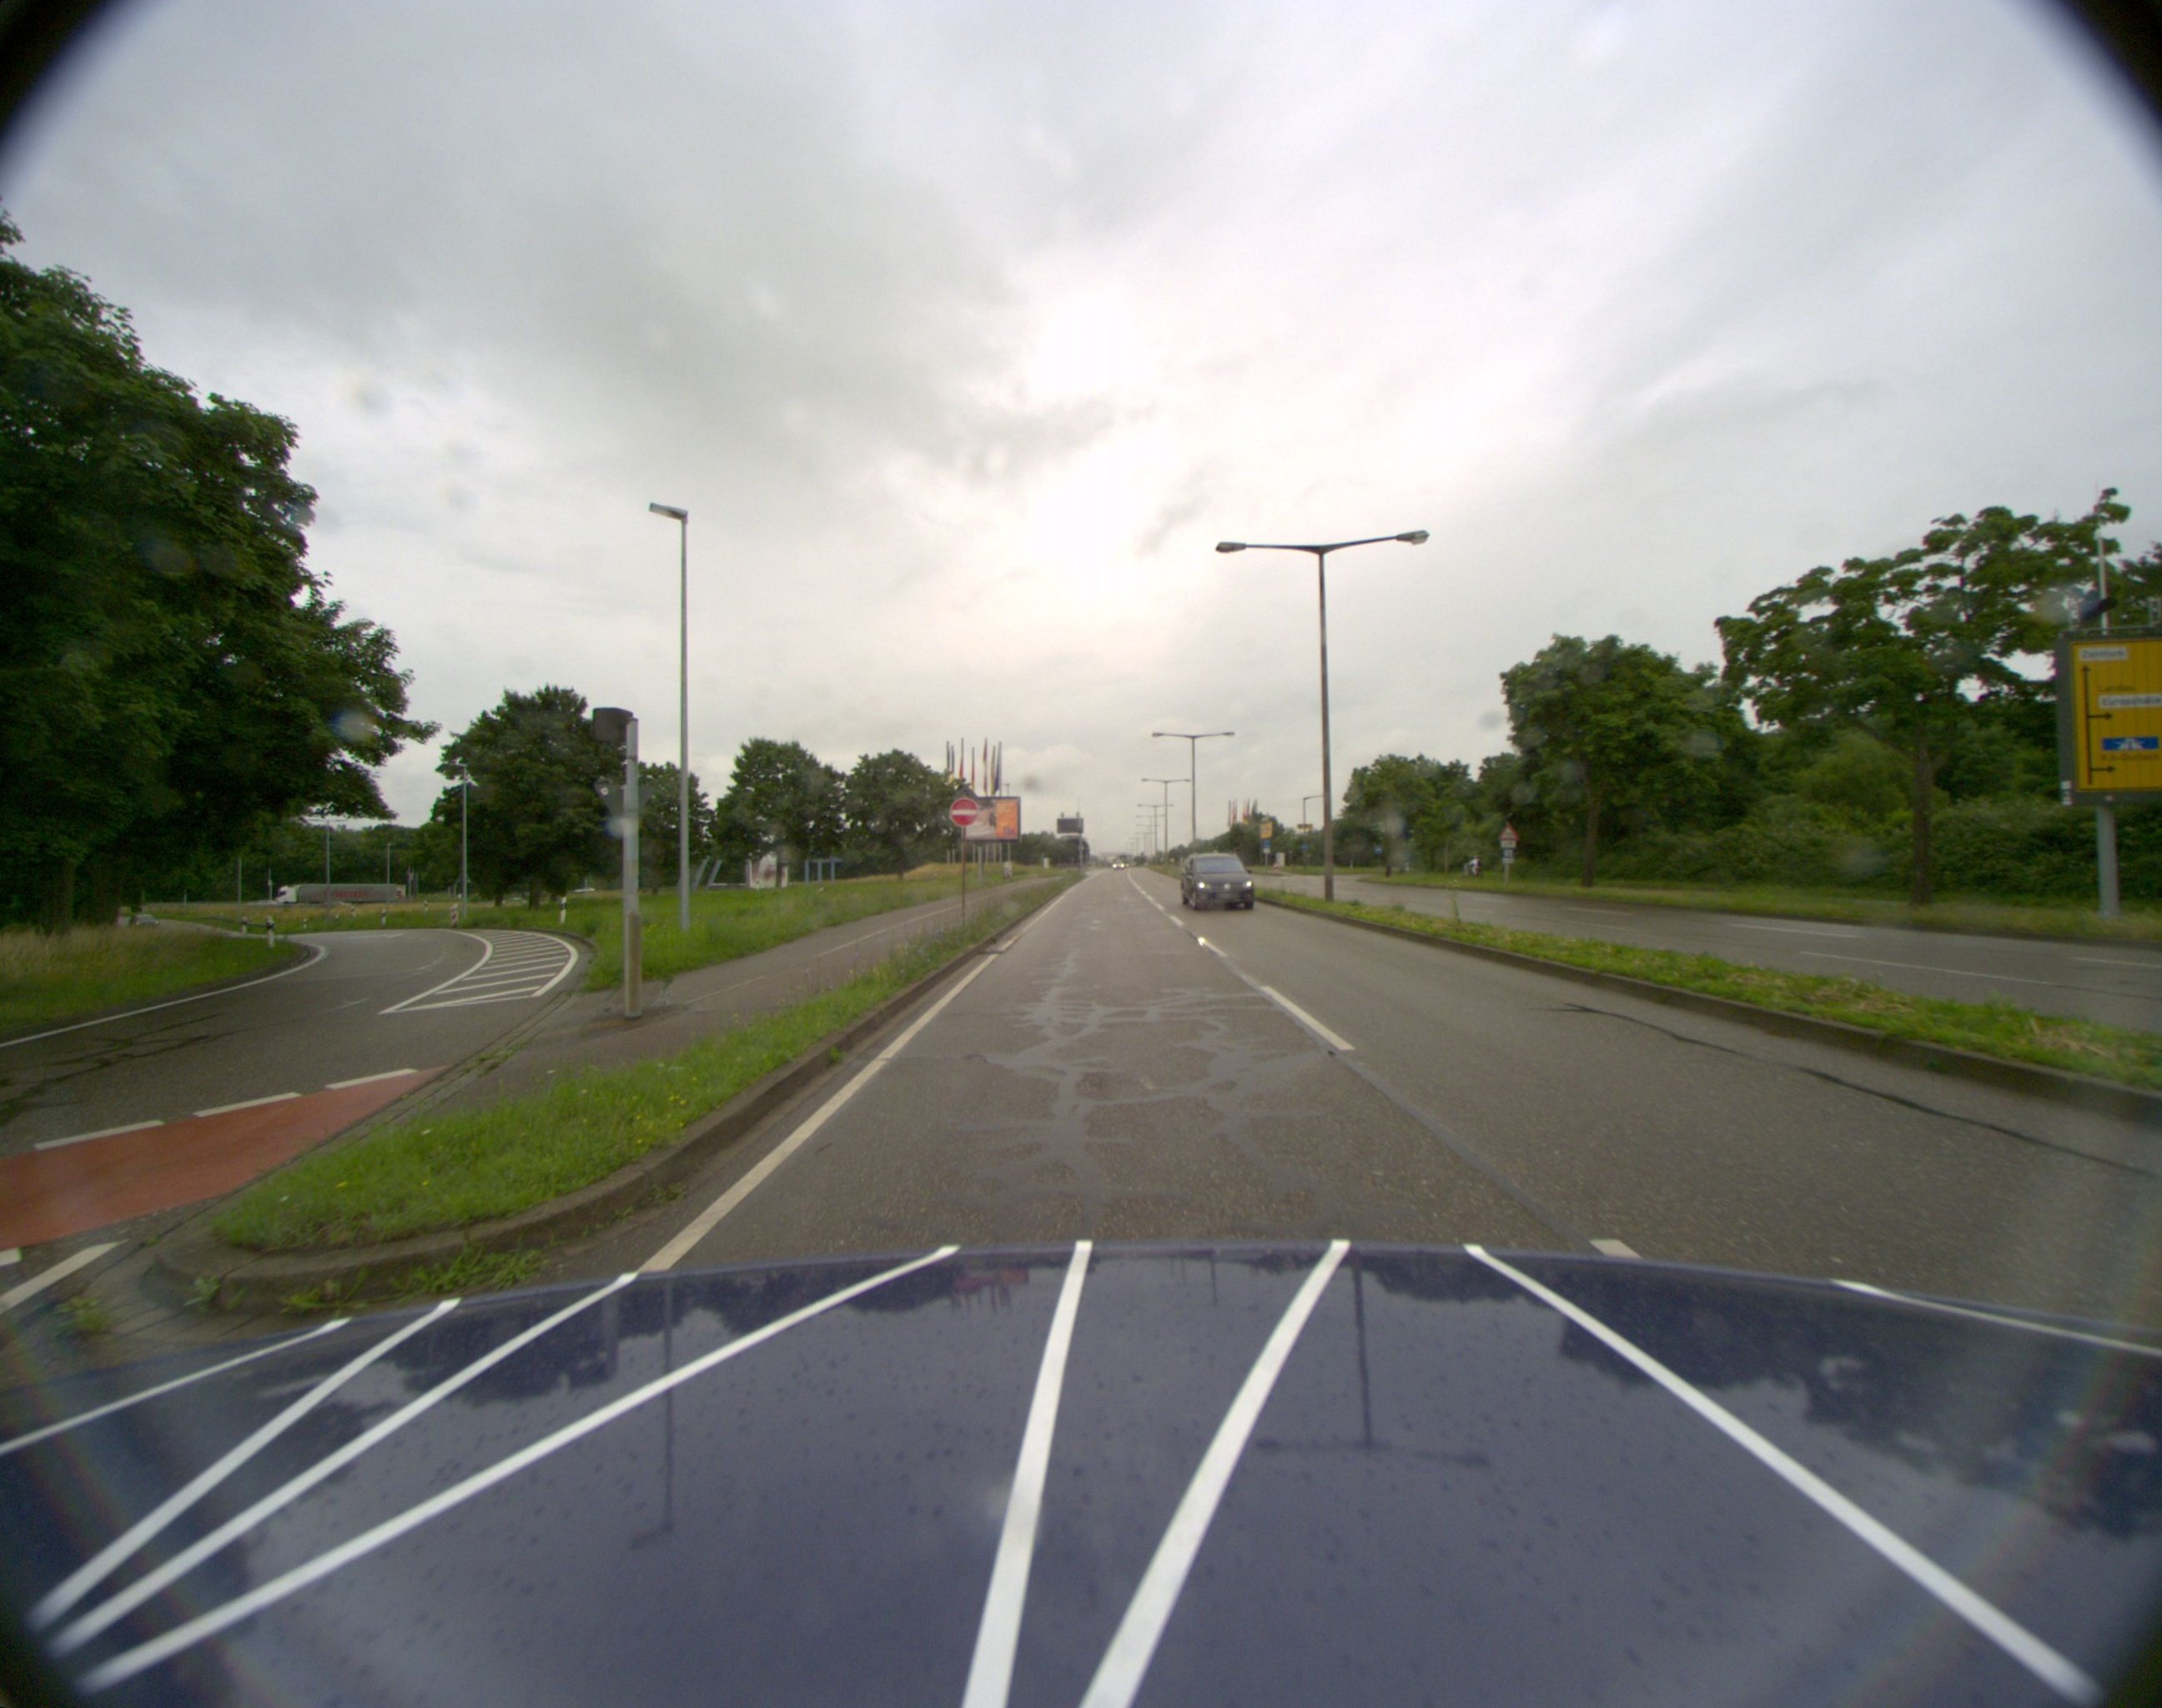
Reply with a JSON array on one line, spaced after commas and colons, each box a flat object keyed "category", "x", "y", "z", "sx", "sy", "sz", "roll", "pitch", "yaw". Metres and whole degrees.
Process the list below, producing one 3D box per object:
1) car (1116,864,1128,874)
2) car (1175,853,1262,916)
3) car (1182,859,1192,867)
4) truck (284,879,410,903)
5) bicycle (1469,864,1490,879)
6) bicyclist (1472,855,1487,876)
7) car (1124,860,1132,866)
[{"category": "car", "x": 6.996, "y": 2.614, "z": 130.857, "sx": 1.998, "sy": 1.700, "sz": 4.001, "roll": -2, "pitch": -1, "yaw": 2}, {"category": "car", "x": 4.273, "y": 0.883, "z": 24.403, "sx": 1.850, "sy": 1.740, "sz": 4.817, "roll": -3, "pitch": 0, "yaw": 0}, {"category": "car", "x": 22.978, "y": 1.982, "z": 165.524, "sx": 1.711, "sy": 1.620, "sz": 4.493, "roll": 1, "pitch": 0, "yaw": 3}, {"category": "truck", "x": -126.271, "y": 6.350, "z": 130.995, "sx": 16.273, "sy": 3.370, "sz": 2.746, "roll": -2, "pitch": 0, "yaw": -15}, {"category": "bicycle", "x": 25.142, "y": 1.120, "z": 47.912, "sx": 0.523, "sy": 0.880, "sz": 1.634, "roll": -2, "pitch": 0, "yaw": 3}, {"category": "bicyclist", "x": 25.128, "y": 0.734, "z": 47.906, "sx": 0.523, "sy": 1.295, "sz": 0.808, "roll": -2, "pitch": 0, "yaw": 3}, {"category": "car", "x": 12.443, "y": 2.436, "z": 202.152, "sx": 1.998, "sy": 1.703, "sz": 4.001, "roll": -1, "pitch": -1, "yaw": 2}]
